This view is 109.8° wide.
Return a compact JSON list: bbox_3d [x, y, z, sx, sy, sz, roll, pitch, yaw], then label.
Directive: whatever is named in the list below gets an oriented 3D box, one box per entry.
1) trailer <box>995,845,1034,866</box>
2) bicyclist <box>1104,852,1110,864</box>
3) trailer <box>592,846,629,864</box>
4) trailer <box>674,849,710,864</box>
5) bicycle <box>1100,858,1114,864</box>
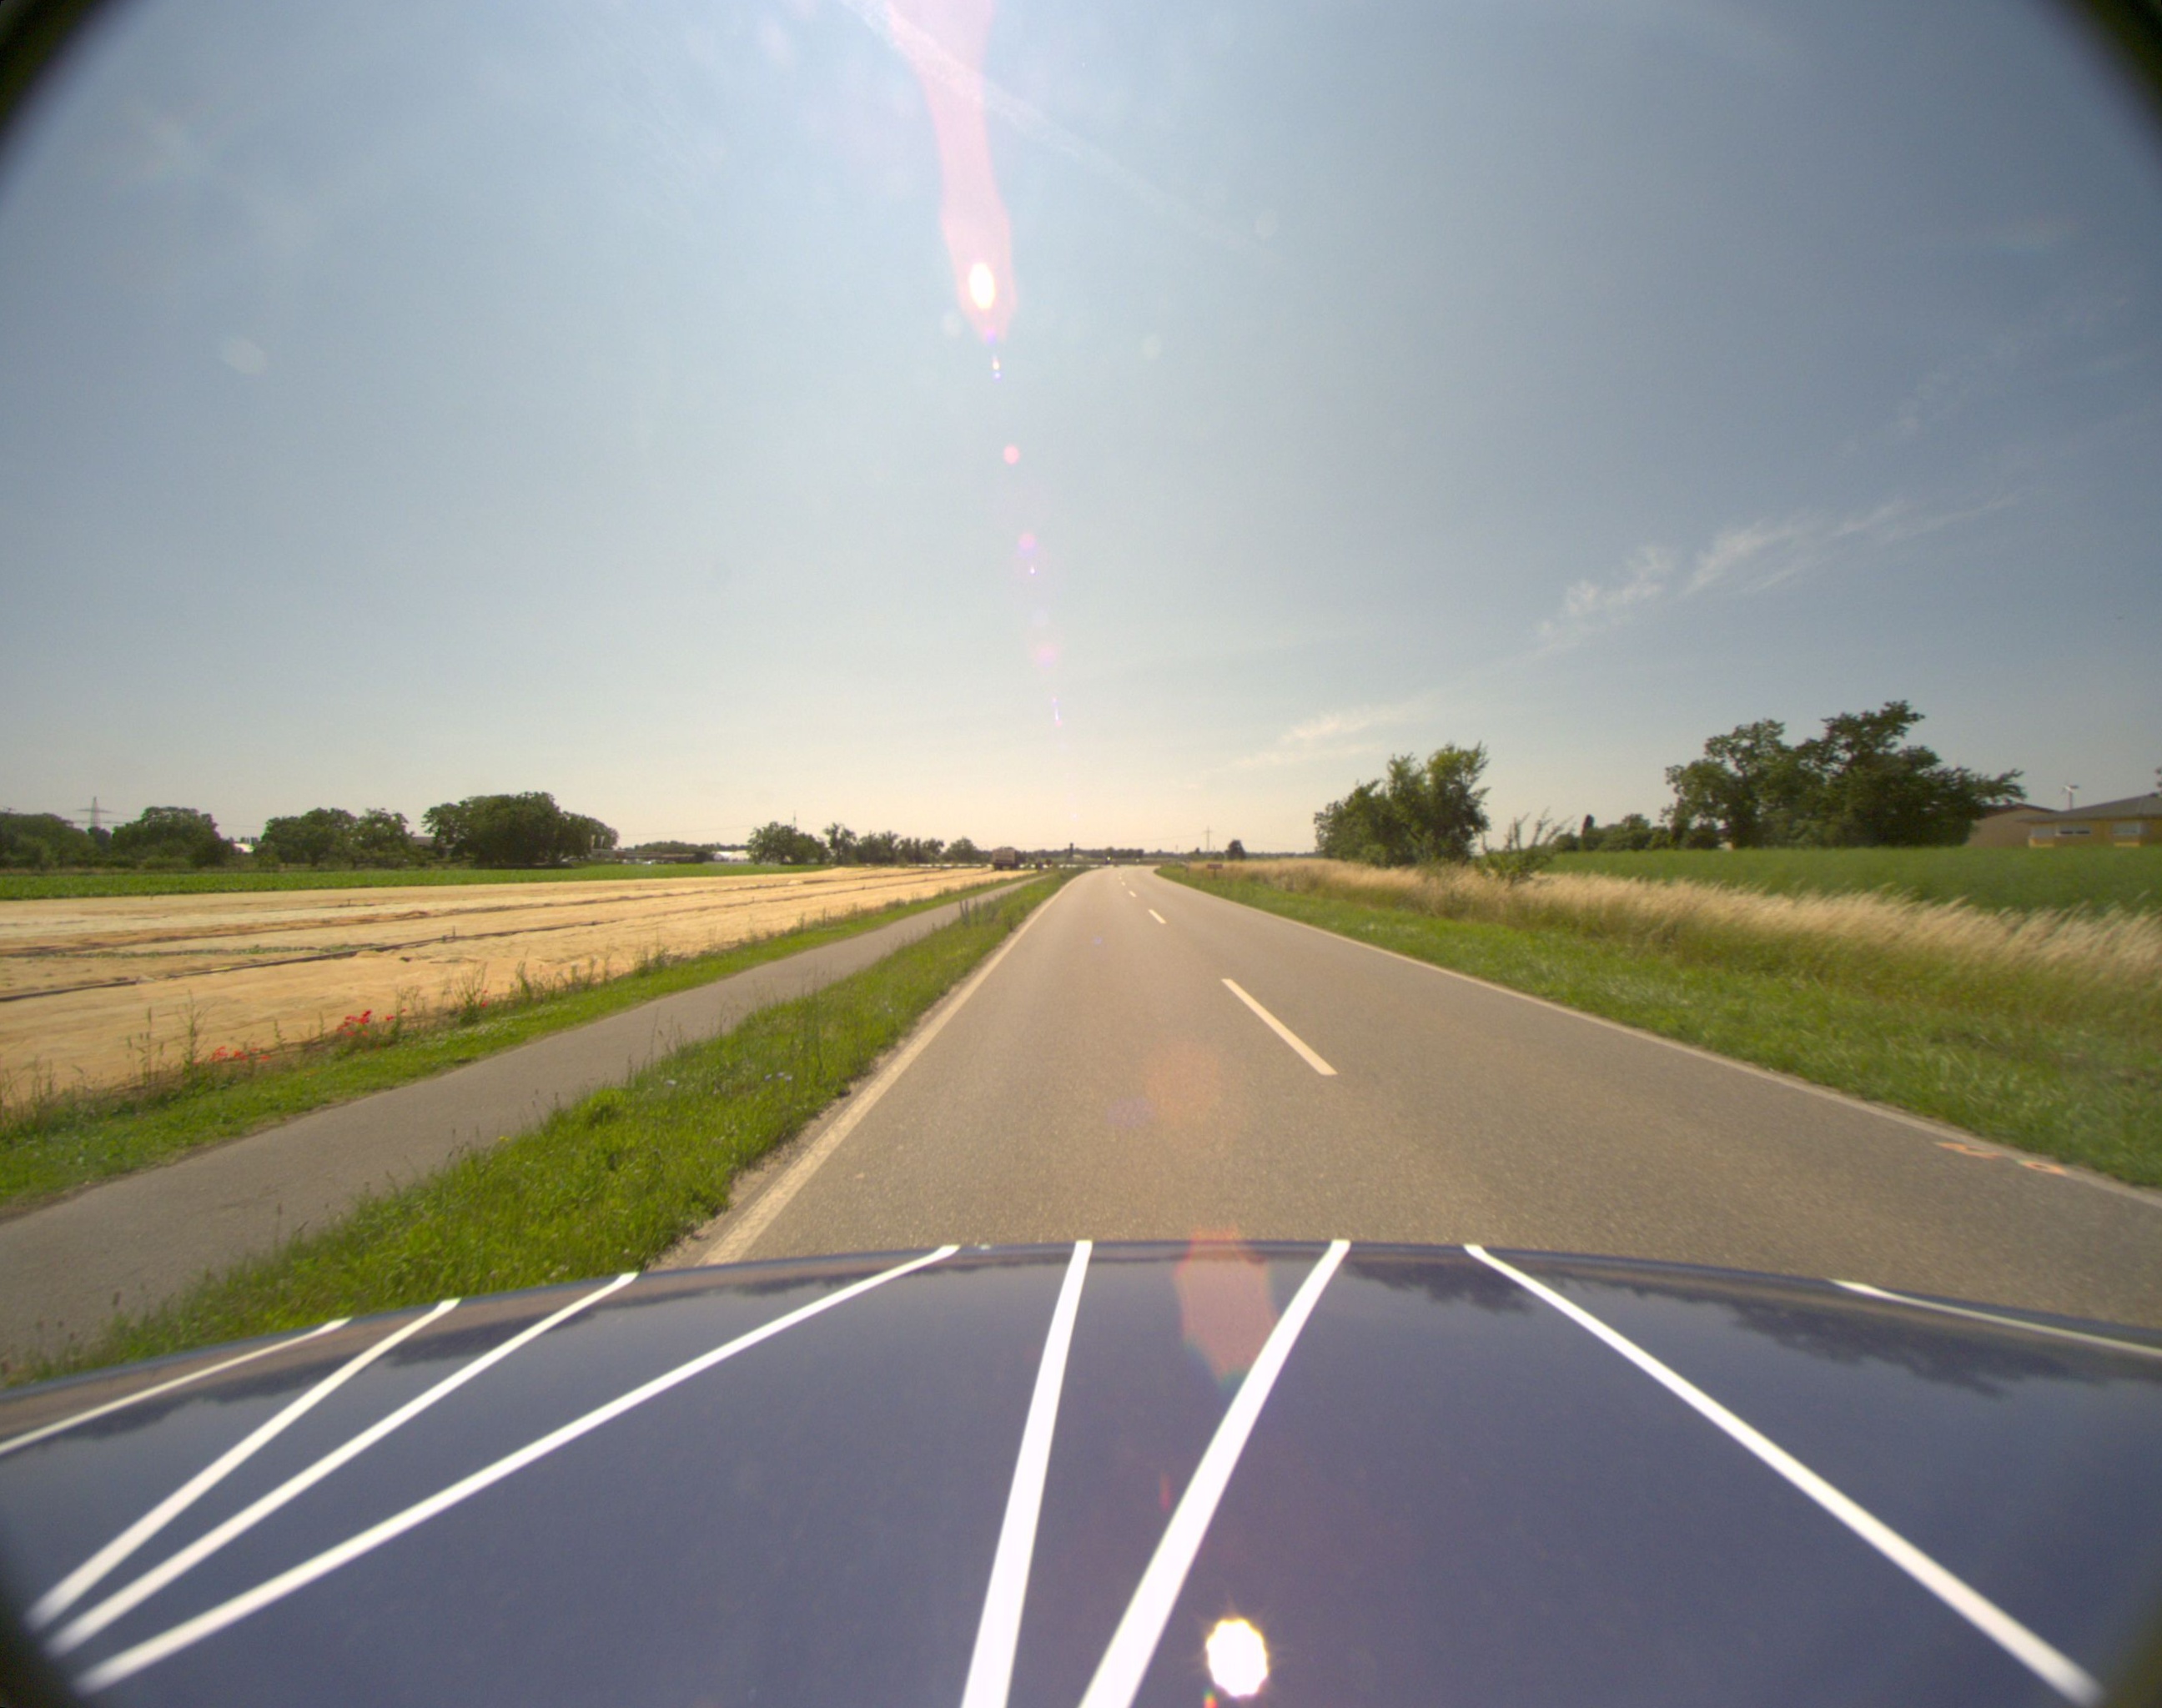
[{"bbox_3d":[-9.731,0.250,110.894,5.283,2.936,2.002,1,2,21],"label":"trailer"},{"bbox_3d":[3.822,0.656,112.693,0.700,1.747,0.663,-1,1,19],"label":"bicyclist"},{"bbox_3d":[-111.764,0.306,180.613,7.427,4.197,3.161,-1,1,14],"label":"trailer"},{"bbox_3d":[-86.282,0.560,168.360,7.422,3.274,3.265,-1,1,26],"label":"trailer"},{"bbox_3d":[3.830,1.044,112.698,1.920,0.986,0.683,-1,1,19],"label":"bicycle"}]
